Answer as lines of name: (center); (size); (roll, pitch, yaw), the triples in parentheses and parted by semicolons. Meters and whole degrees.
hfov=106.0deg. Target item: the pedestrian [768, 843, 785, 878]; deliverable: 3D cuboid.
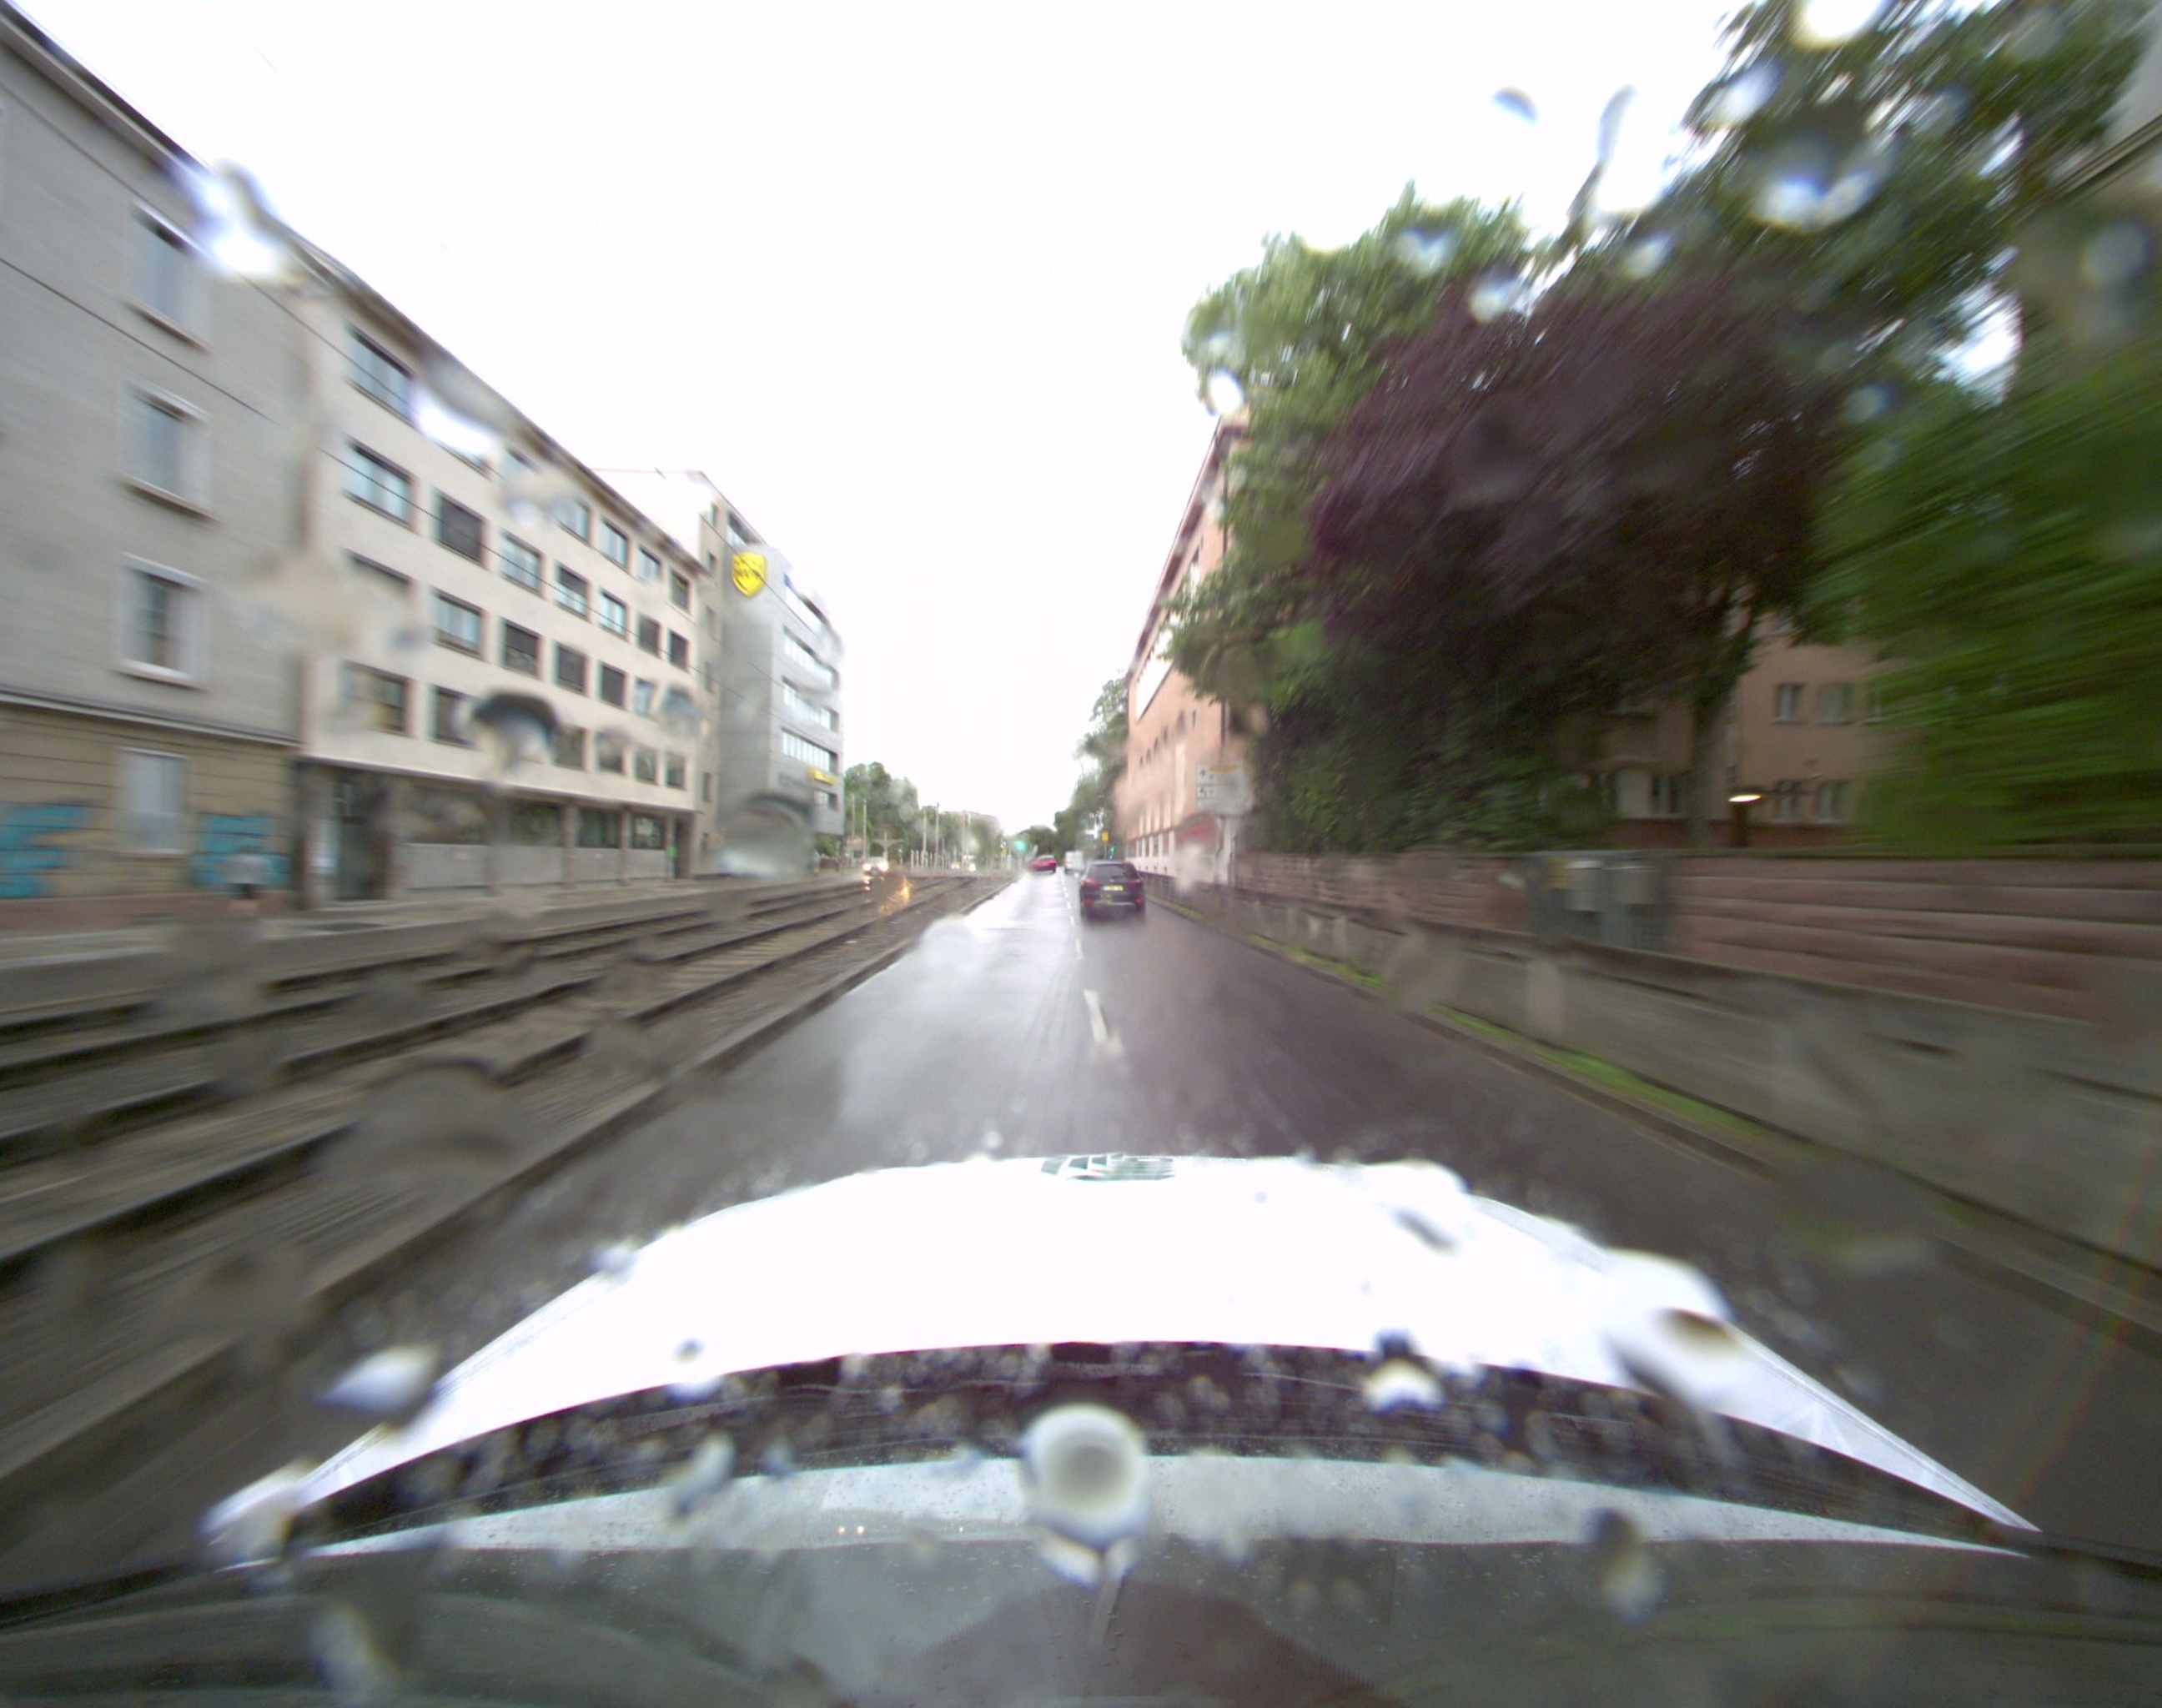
pedestrian: (-18.372, 0.394, 49.178); (0.659, 2.014, 0.810); (2, -1, -2)

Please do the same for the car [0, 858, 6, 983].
car: (-14.298, 0.850, 7.705); (1.989, 1.536, 4.744); (-3, 0, -2)

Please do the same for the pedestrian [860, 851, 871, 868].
pedestrian: (-24.543, 0.667, 92.765); (1.000, 1.863, 0.910); (2, -1, -11)

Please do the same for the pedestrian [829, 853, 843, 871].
pedestrian: (-22.059, 0.734, 73.300); (0.970, 1.594, 0.583); (3, -1, -32)

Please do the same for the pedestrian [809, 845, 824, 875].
pedestrian: (-18.208, 0.427, 56.068); (0.666, 2.014, 0.610); (3, -2, -40)

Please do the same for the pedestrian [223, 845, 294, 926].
pedestrian: (-17.007, 0.640, 16.860); (0.545, 1.613, 0.798); (3, -1, 0)

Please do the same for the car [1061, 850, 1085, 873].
car: (-0.676, 0.638, 70.173); (2.029, 1.840, 4.391); (1, 0, 0)

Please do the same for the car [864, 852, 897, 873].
car: (-16.087, 0.687, 65.492); (1.937, 1.536, 4.340); (-2, 0, -5)

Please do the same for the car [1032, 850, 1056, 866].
car: (-3.526, 0.411, 77.801); (2.092, 1.506, 4.730); (-1, -1, -1)

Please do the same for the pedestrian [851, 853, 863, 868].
pedestrian: (-24.543, 0.737, 89.033); (0.917, 1.594, 0.992); (3, -1, -35)

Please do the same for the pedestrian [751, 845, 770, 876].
pedestrian: (-19.287, 0.413, 49.030); (0.659, 1.815, 0.973); (2, -1, -2)

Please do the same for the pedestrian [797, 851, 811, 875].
pedestrian: (-19.012, 0.633, 55.837); (0.583, 1.594, 0.638); (2, -1, 15)

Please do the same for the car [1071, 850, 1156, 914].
car: (0.792, 0.725, 22.654); (2.030, 1.584, 4.389); (1, 0, -2)

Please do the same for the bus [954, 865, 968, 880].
bus: (-27.636, 4.303, 187.175); (3.075, 3.301, 12.485); (-1, -1, -8)
